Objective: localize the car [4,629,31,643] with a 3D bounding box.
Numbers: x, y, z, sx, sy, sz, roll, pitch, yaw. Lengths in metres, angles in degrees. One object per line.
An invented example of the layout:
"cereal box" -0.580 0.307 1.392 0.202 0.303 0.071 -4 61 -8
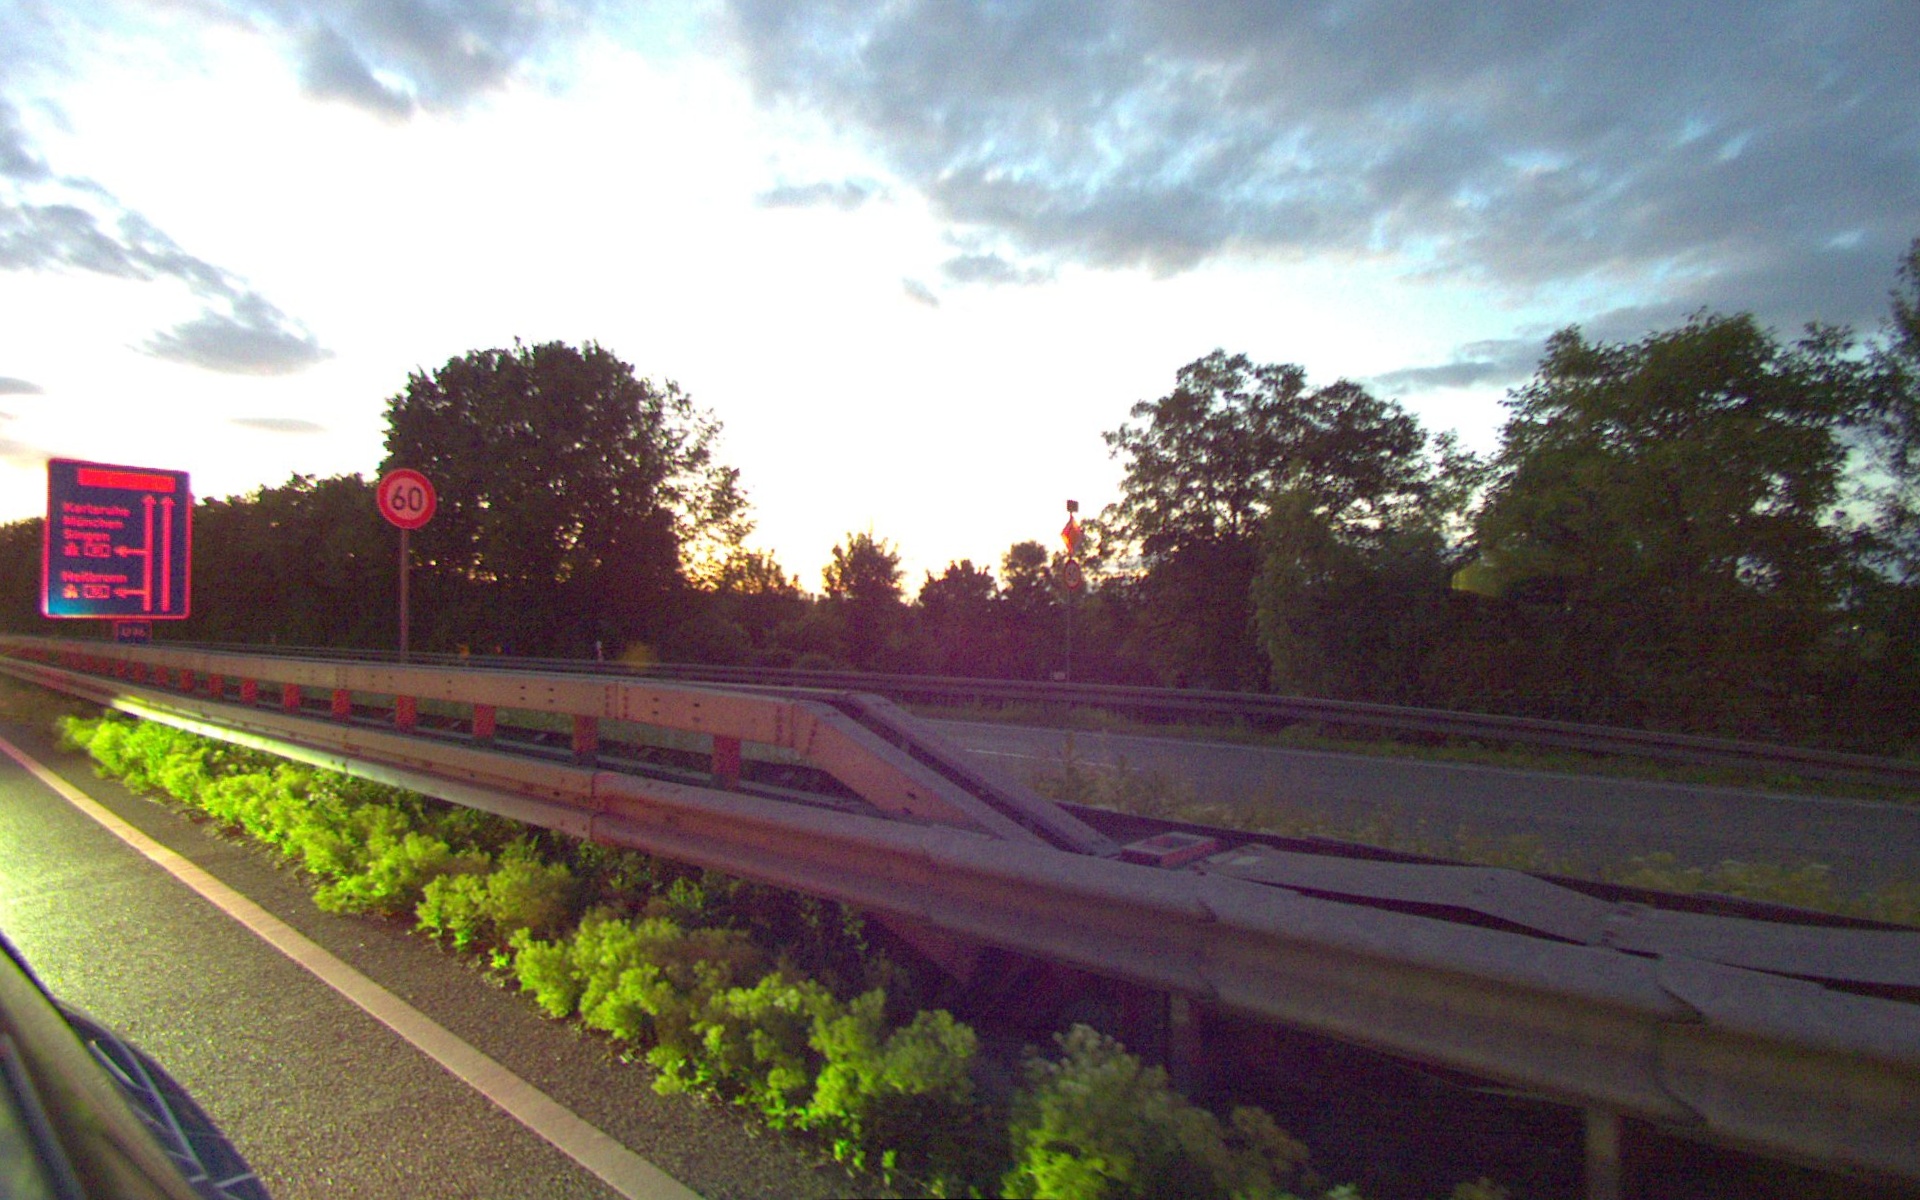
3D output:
"car" -117.506 4.464 126.229 1.770 1.684 4.513 0 -1 -34
